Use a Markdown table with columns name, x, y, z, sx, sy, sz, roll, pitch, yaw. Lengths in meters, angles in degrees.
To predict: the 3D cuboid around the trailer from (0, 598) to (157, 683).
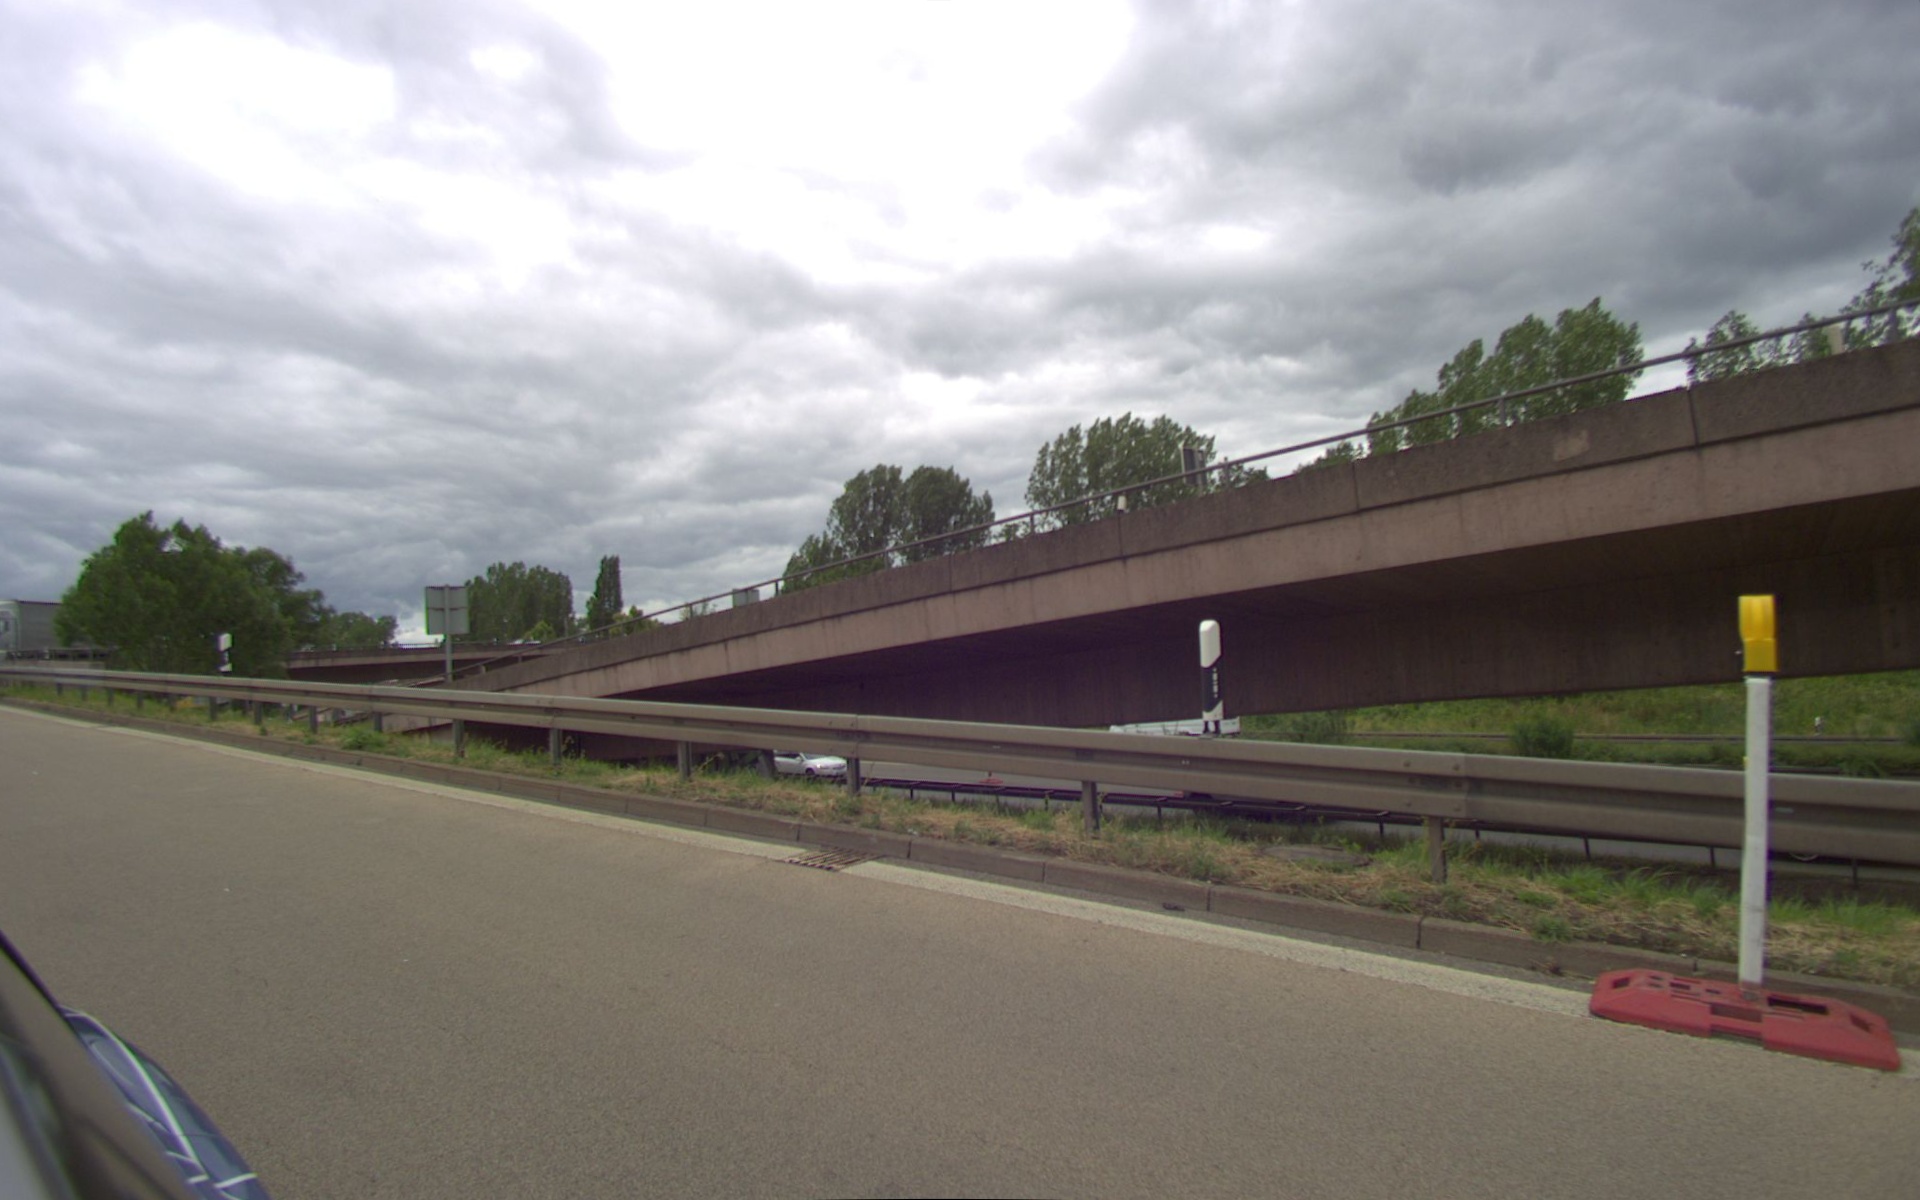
| name | x | y | z | sx | sy | sz | roll | pitch | yaw |
| --- | --- | --- | --- | --- | --- | --- | --- | --- | --- |
| trailer | -53.175 | 2.556 | 59.271 | 4.059 | 4.276 | 13.926 | -3 | -3 | -14 |

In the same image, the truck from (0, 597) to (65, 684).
| name | x | y | z | sx | sy | sz | roll | pitch | yaw |
| --- | --- | --- | --- | --- | --- | --- | --- | --- | --- |
| truck | -51.684 | 2.239 | 53.560 | 4.098 | 4.336 | 5.980 | -3 | -3 | -14 |
